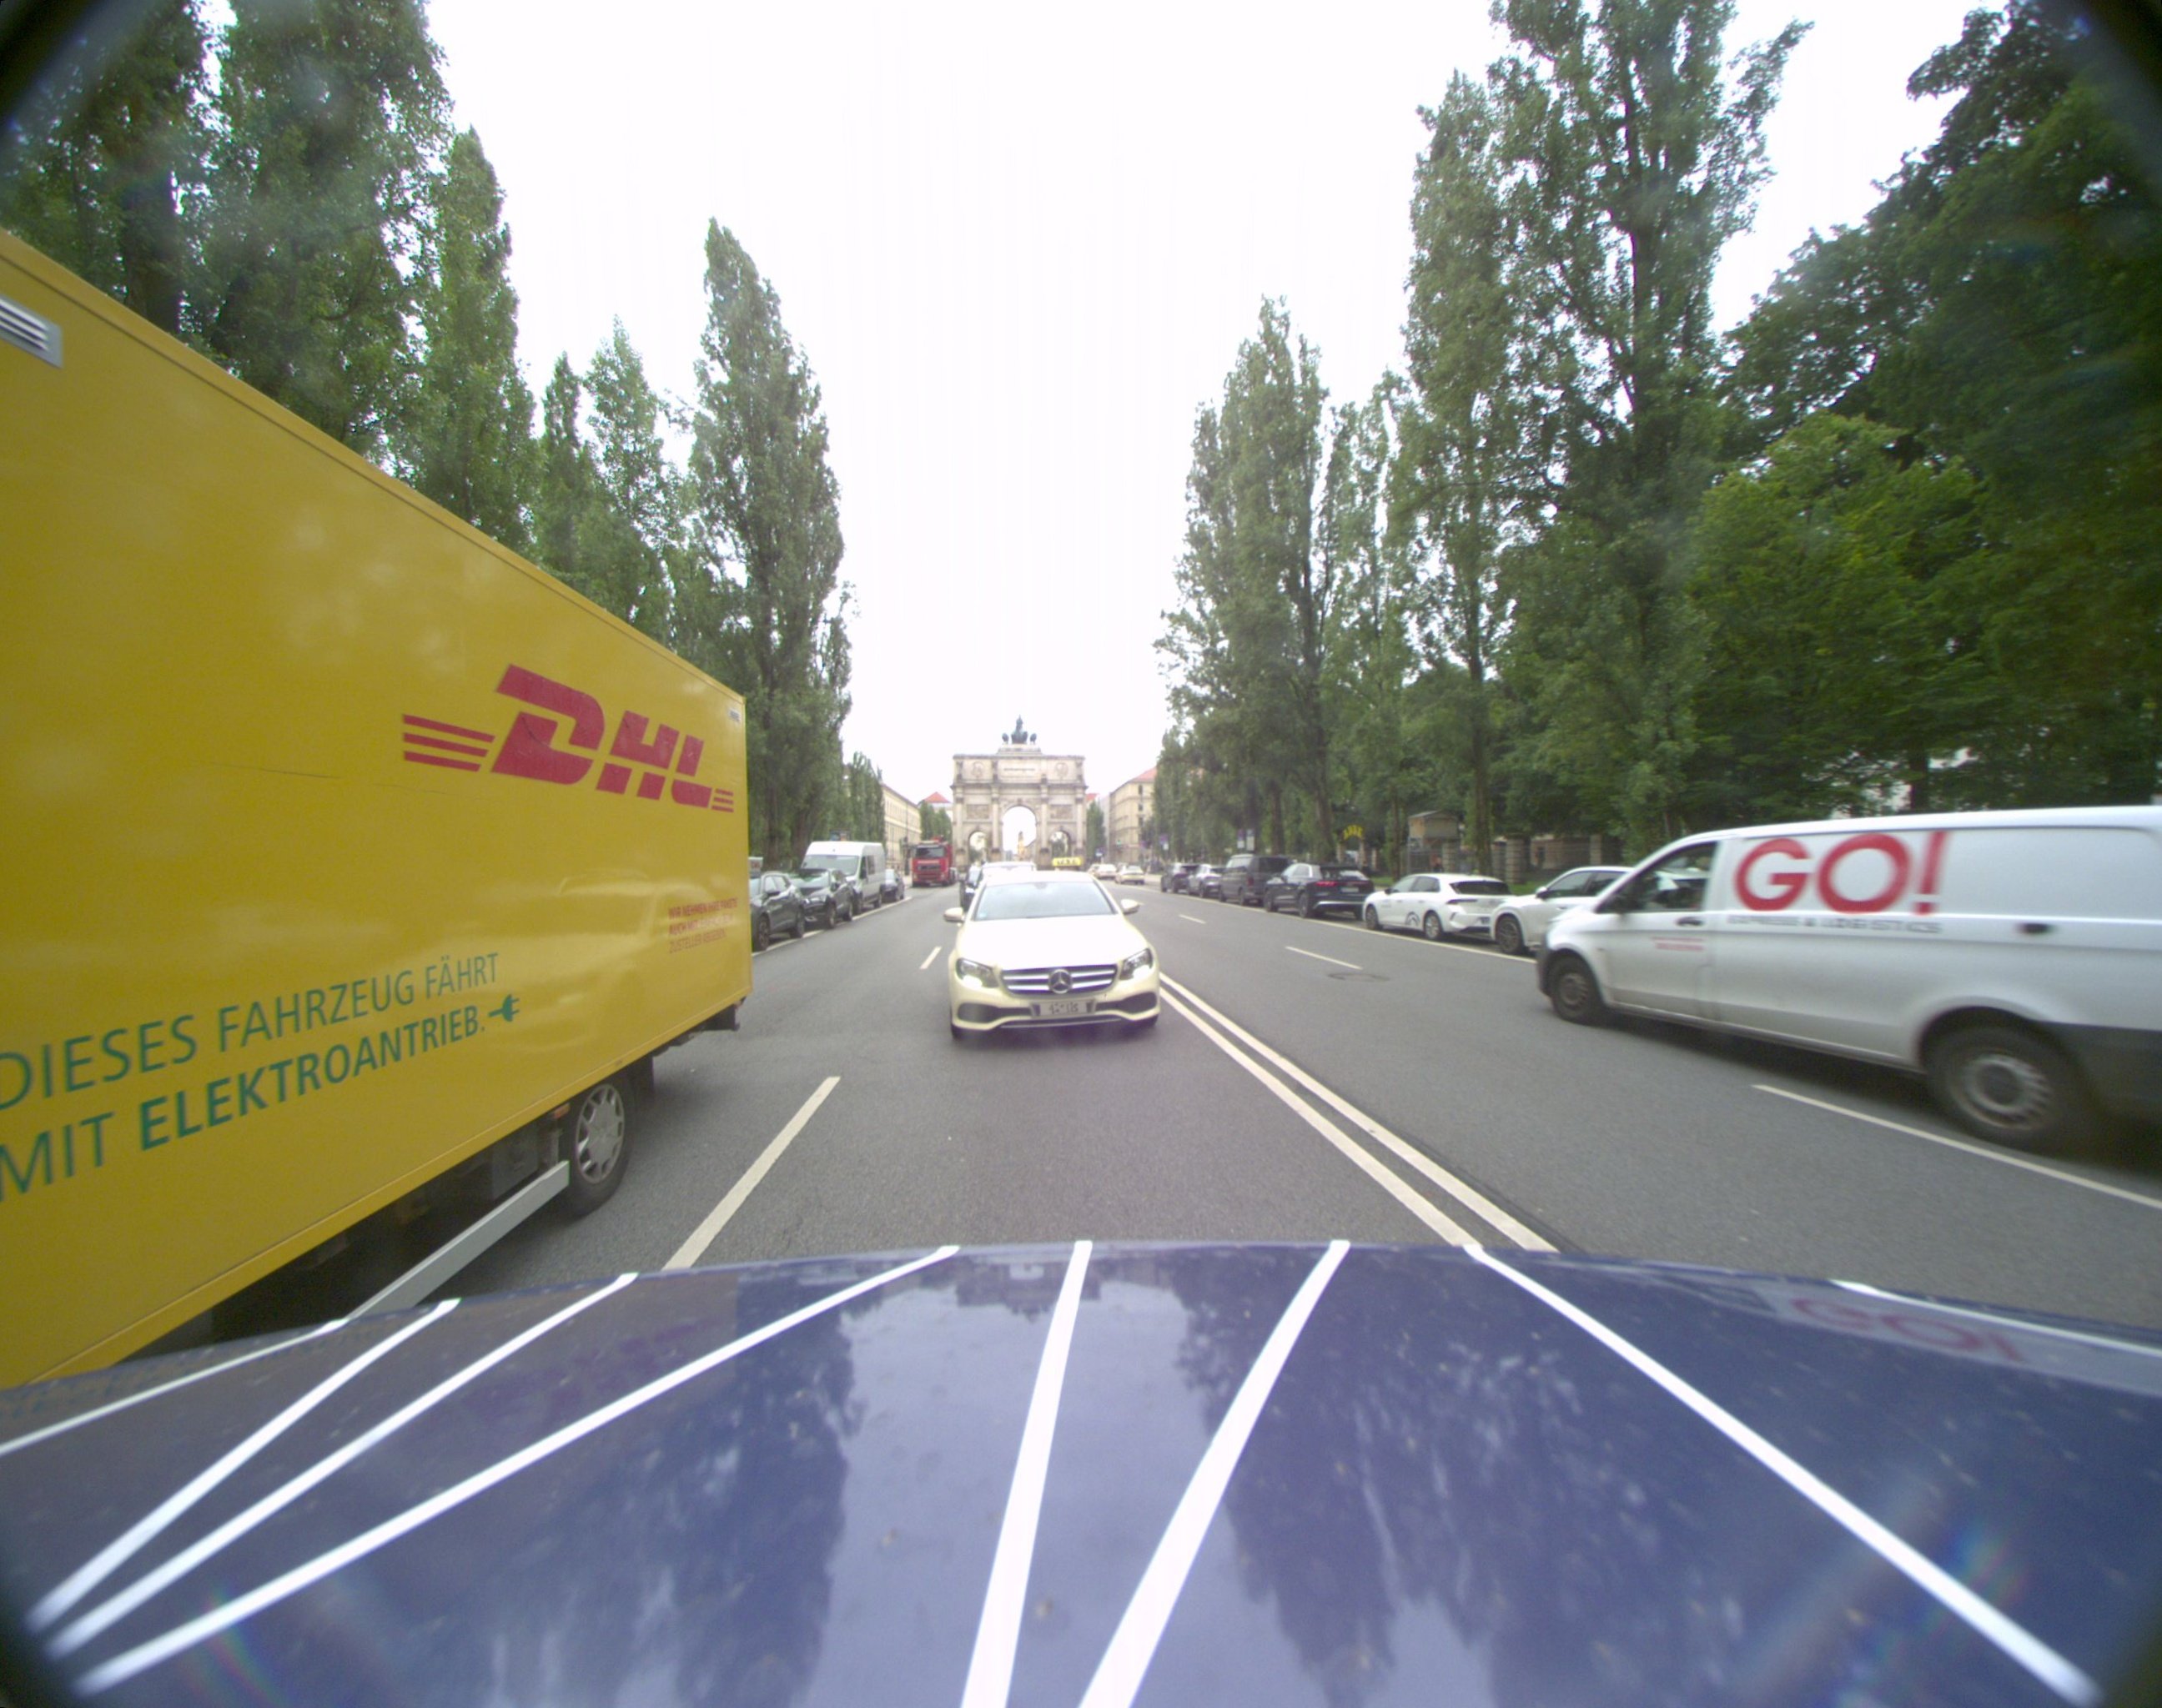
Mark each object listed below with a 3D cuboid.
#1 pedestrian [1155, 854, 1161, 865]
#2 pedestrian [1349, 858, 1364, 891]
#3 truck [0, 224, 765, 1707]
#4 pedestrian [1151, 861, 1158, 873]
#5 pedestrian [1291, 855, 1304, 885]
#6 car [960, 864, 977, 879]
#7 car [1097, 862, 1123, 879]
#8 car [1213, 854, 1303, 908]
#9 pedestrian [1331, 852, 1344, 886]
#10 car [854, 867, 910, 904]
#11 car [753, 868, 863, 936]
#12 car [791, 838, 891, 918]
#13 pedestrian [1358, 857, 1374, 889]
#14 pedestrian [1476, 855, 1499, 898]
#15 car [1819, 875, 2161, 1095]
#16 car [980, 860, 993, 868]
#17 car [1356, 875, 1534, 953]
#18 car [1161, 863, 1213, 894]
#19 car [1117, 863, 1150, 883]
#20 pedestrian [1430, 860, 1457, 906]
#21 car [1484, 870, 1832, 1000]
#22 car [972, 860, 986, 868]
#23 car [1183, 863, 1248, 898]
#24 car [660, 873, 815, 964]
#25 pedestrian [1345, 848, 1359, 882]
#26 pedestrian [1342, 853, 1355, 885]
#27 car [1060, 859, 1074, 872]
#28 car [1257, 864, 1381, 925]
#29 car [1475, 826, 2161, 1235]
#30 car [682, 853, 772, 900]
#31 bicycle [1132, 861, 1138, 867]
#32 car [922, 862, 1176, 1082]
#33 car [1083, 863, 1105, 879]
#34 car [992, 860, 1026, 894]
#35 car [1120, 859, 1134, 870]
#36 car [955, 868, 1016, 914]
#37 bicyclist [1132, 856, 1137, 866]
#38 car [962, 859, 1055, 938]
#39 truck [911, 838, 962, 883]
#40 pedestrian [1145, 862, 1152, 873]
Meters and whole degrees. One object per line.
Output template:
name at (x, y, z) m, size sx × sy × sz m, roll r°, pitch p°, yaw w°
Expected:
pedestrian at (14.103, 1.058, 139.950) m, size 0.796 × 2.002 × 0.754 m, roll 0°, pitch 0°, yaw -40°
pedestrian at (14.426, 1.083, 39.818) m, size 0.551 × 1.691 × 0.532 m, roll -1°, pitch 1°, yaw -6°
truck at (-3.182, 0.316, 1.990) m, size 2.335 × 2.881 × 7.328 m, roll -1°, pitch 0°, yaw -6°
pedestrian at (10.786, 1.926, 111.597) m, size 0.845 × 1.668 × 0.968 m, roll 0°, pitch 0°, yaw 12°
pedestrian at (12.901, 0.936, 45.248) m, size 0.551 × 1.737 × 0.532 m, roll -1°, pitch 1°, yaw -6°
car at (-13.154, 2.021, 88.647) m, size 1.809 × 1.619 × 3.998 m, roll 0°, pitch 0°, yaw -6°
car at (2.800, 1.588, 74.408) m, size 1.943 × 1.615 × 4.962 m, roll 0°, pitch 0°, yaw -5°
car at (6.912, 1.018, 30.274) m, size 2.000 × 1.945 × 4.935 m, roll 1°, pitch -1°, yaw -6°
pedestrian at (14.761, 0.857, 43.736) m, size 0.551 × 1.948 × 0.532 m, roll -1°, pitch 1°, yaw -6°
car at (-8.868, 1.366, 34.193) m, size 1.759 × 1.441 × 3.998 m, roll -3°, pitch 0°, yaw -6°
car at (-7.314, 1.216, 20.822) m, size 1.826 × 1.581 × 4.221 m, roll -1°, pitch 0°, yaw -6°
car at (-8.324, 0.781, 27.022) m, size 2.080 × 2.464 × 6.280 m, roll -2°, pitch 0°, yaw -6°
pedestrian at (14.994, 1.000, 39.964) m, size 0.551 × 1.659 × 0.532 m, roll -1°, pitch 1°, yaw -6°
pedestrian at (16.738, 0.926, 31.311) m, size 0.551 × 1.737 × 0.672 m, roll -1°, pitch 0°, yaw -6°
car at (9.282, 1.066, 6.063) m, size 1.886 × 1.648 × 4.715 m, roll 2°, pitch -1°, yaw -7°
car at (-21.924, 2.338, 177.078) m, size 1.785 × 1.739 × 4.324 m, roll 0°, pitch 0°, yaw 11°
car at (8.021, 1.257, 17.249) m, size 1.681 × 1.414 × 4.235 m, roll 1°, pitch 0°, yaw -6°
car at (5.703, 1.296, 41.411) m, size 1.787 × 1.586 × 4.611 m, roll 1°, pitch -1°, yaw -6°
car at (4.075, 1.500, 60.141) m, size 1.936 × 1.488 × 4.789 m, roll 0°, pitch -1°, yaw -4°
pedestrian at (13.953, 1.104, 29.227) m, size 0.584 × 1.710 × 0.786 m, roll -1°, pitch 0°, yaw -7°
car at (8.529, 1.083, 11.872) m, size 1.791 × 1.579 × 4.459 m, roll 2°, pitch -1°, yaw -5°
car at (-23.018, 2.226, 171.967) m, size 1.785 × 1.739 × 4.324 m, roll 0°, pitch 0°, yaw 11°
car at (6.426, 1.222, 36.791) m, size 1.896 × 1.575 × 4.652 m, roll 1°, pitch 0°, yaw -6°
car at (-6.897, 1.204, 15.731) m, size 1.656 × 1.494 × 4.111 m, roll -2°, pitch 0°, yaw -6°
pedestrian at (15.697, 0.652, 44.009) m, size 0.551 × 1.948 × 0.532 m, roll -1°, pitch 1°, yaw -6°
pedestrian at (15.310, 0.871, 43.474) m, size 0.434 × 1.824 × 0.611 m, roll -1°, pitch 0°, yaw -6°
car at (-1.893, 1.557, 101.244) m, size 1.790 × 1.646 × 4.113 m, roll 1°, pitch 0°, yaw -2°
car at (7.223, 1.175, 23.658) m, size 1.821 × 1.599 × 5.050 m, roll 2°, pitch 0°, yaw -6°
car at (5.879, 0.843, 6.004) m, size 2.189 × 1.880 × 5.693 m, roll 1°, pitch 0°, yaw -5°
car at (-15.702, 0.949, 34.030) m, size 1.999 × 1.935 × 5.081 m, roll -1°, pitch 0°, yaw -5°
bicycle at (8.229, 1.525, 116.306) m, size 0.709 × 0.933 × 1.736 m, roll -1°, pitch 0°, yaw 9°
car at (-0.436, 0.931, 8.260) m, size 1.920 × 1.566 × 4.687 m, roll -2°, pitch 0°, yaw -5°
car at (1.382, 1.790, 81.469) m, size 1.824 × 1.550 × 4.856 m, roll 1°, pitch 0°, yaw -6°
car at (-4.154, 1.292, 44.192) m, size 1.890 × 1.846 × 4.311 m, roll -1°, pitch 0°, yaw -5°
car at (8.479, 1.959, 140.772) m, size 2.005 × 1.844 × 4.988 m, roll 1°, pitch 0°, yaw -4°
car at (-3.351, 1.236, 26.913) m, size 1.923 × 1.320 × 4.409 m, roll -2°, pitch 0°, yaw -7°
bicyclist at (8.214, 1.127, 116.343) m, size 0.695 × 1.489 × 0.862 m, roll 0°, pitch 0°, yaw 10°
car at (-1.780, 0.991, 18.820) m, size 1.954 × 1.615 × 4.409 m, roll -2°, pitch 0°, yaw -5°
truck at (-10.723, 0.498, 57.346) m, size 2.721 × 3.091 × 10.421 m, roll 0°, pitch 0°, yaw -5°
pedestrian at (9.927, 1.944, 111.873) m, size 0.845 × 1.668 × 0.968 m, roll 0°, pitch 0°, yaw 12°
